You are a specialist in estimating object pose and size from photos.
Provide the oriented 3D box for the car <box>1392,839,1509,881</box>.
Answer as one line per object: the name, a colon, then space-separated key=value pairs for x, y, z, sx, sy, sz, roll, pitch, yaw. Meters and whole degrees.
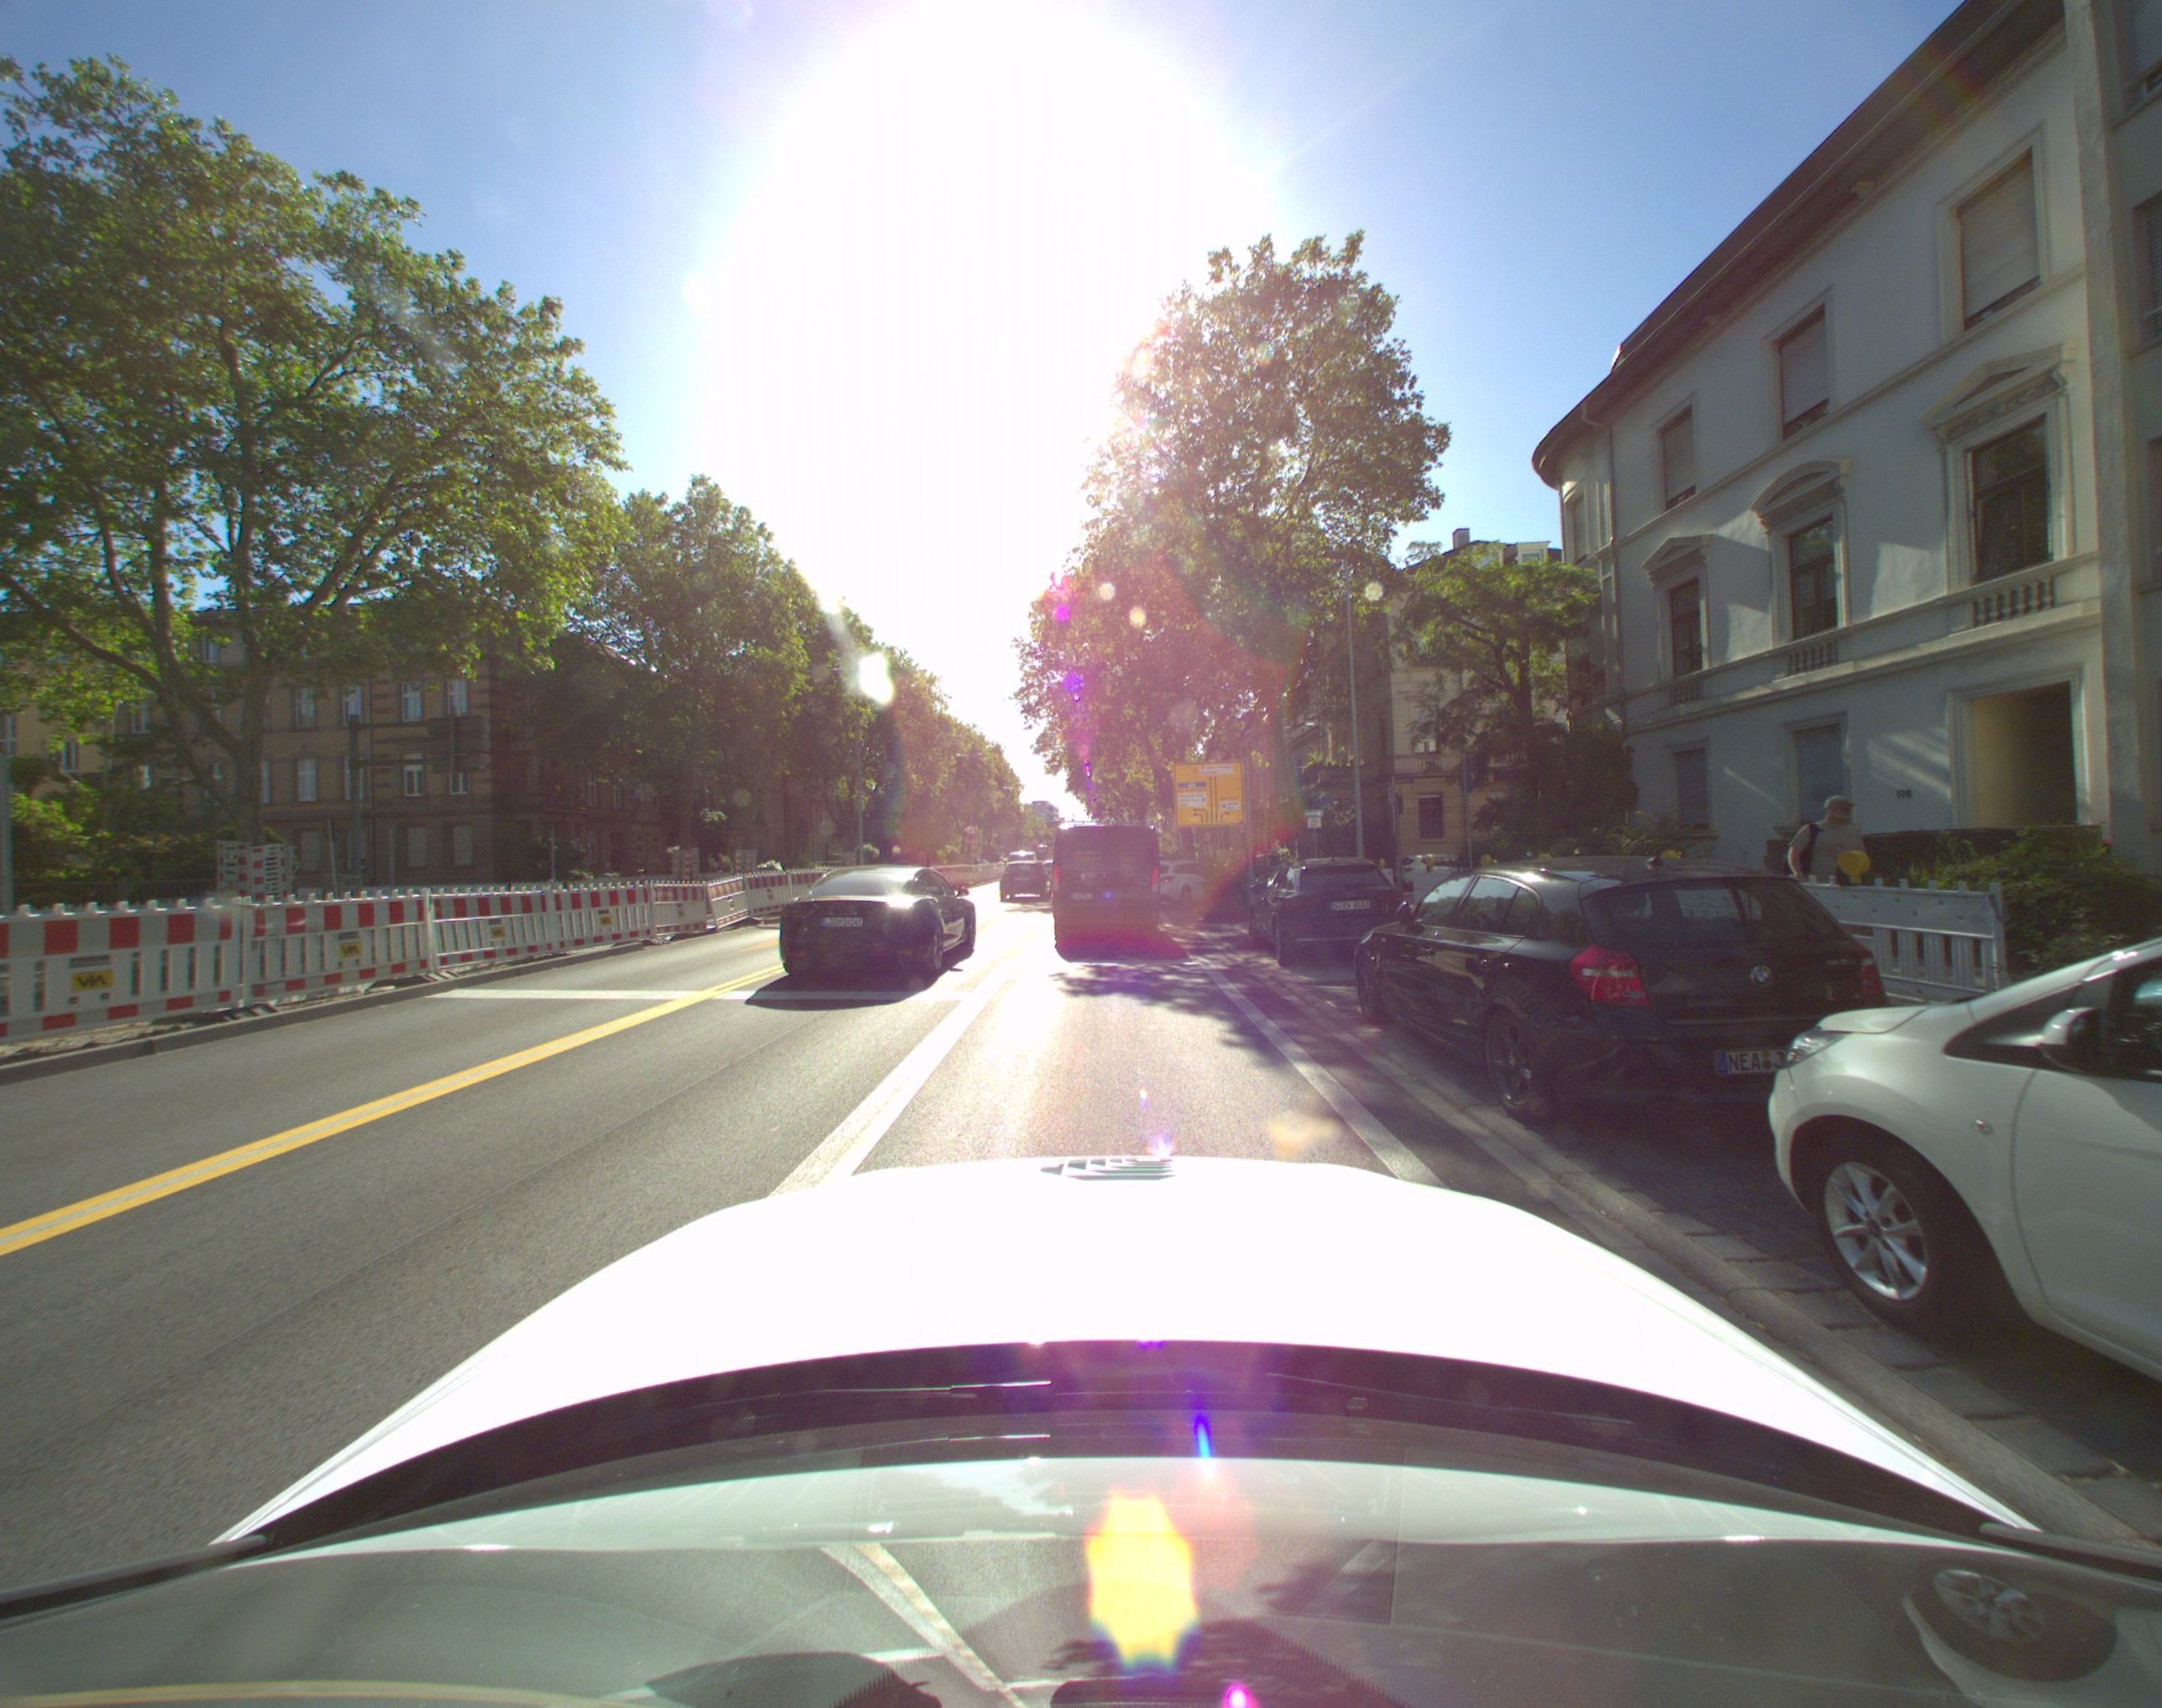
car: x=14.898 y=0.219 z=32.965 sx=3.913 sy=1.561 sz=1.875 roll=-1 pitch=2 yaw=3

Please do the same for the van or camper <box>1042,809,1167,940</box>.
van or camper: x=0.442 y=0.387 z=17.121 sx=2.238 sy=2.346 sz=4.537 roll=-1 pitch=0 yaw=0

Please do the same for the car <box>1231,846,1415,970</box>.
car: x=3.459 y=0.698 z=12.425 sx=1.614 sy=1.486 sz=4.099 roll=-3 pitch=0 yaw=2

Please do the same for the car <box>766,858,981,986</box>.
car: x=-2.726 y=0.813 z=11.854 sx=1.831 sy=1.483 sz=4.477 roll=-1 pitch=0 yaw=2

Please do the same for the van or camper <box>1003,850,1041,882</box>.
van or camper: x=-4.045 y=0.811 z=56.253 sx=1.986 sy=2.013 sz=5.331 roll=-2 pitch=0 yaw=2

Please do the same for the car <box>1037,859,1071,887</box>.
car: x=-1.483 y=1.023 z=45.841 sx=1.614 sy=1.486 sz=3.735 roll=-1 pitch=0 yaw=2

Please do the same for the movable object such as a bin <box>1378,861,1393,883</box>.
movable object such as a bin: x=13.629 y=0.803 z=36.458 sx=0.517 sy=0.970 sz=0.399 roll=-2 pitch=-1 yaw=4

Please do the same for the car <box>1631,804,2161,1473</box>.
car: x=3.186 y=0.601 z=1.658 sx=1.614 sy=1.486 sz=3.735 roll=-3 pitch=0 yaw=2

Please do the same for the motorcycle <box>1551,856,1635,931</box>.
motorcycle: x=8.688 y=0.635 z=13.881 sx=0.593 sy=1.186 sz=1.559 roll=-2 pitch=0 yaw=8

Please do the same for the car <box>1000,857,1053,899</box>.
car: x=-2.013 y=0.865 z=30.804 sx=1.614 sy=1.486 sz=3.735 roll=-1 pitch=0 yaw=2

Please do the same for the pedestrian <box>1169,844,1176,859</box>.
pedestrian: x=14.361 y=-0.433 z=127.430 sx=1.053 sy=2.346 sz=0.817 roll=0 pitch=-1 yaw=4

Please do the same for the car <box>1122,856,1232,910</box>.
car: x=3.121 y=0.877 z=25.875 sx=1.816 sy=1.486 sz=4.083 roll=-2 pitch=0 yaw=33

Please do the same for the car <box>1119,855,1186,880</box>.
car: x=4.662 y=0.861 z=53.101 sx=3.951 sy=1.568 sz=1.788 roll=1 pitch=-1 yaw=24

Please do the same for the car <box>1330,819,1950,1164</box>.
car: x=3.173 y=0.639 z=5.759 sx=1.614 sy=1.486 sz=4.058 roll=-3 pitch=0 yaw=2

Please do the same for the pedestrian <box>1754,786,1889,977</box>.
pedestrian: x=7.555 y=0.268 z=8.341 sx=0.662 sy=1.849 sz=0.694 roll=-3 pitch=-1 yaw=1

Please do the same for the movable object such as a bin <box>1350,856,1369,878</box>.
movable object such as a bin: x=12.880 y=0.600 z=37.718 sx=0.684 sy=0.970 sz=0.548 roll=-2 pitch=-1 yaw=4
